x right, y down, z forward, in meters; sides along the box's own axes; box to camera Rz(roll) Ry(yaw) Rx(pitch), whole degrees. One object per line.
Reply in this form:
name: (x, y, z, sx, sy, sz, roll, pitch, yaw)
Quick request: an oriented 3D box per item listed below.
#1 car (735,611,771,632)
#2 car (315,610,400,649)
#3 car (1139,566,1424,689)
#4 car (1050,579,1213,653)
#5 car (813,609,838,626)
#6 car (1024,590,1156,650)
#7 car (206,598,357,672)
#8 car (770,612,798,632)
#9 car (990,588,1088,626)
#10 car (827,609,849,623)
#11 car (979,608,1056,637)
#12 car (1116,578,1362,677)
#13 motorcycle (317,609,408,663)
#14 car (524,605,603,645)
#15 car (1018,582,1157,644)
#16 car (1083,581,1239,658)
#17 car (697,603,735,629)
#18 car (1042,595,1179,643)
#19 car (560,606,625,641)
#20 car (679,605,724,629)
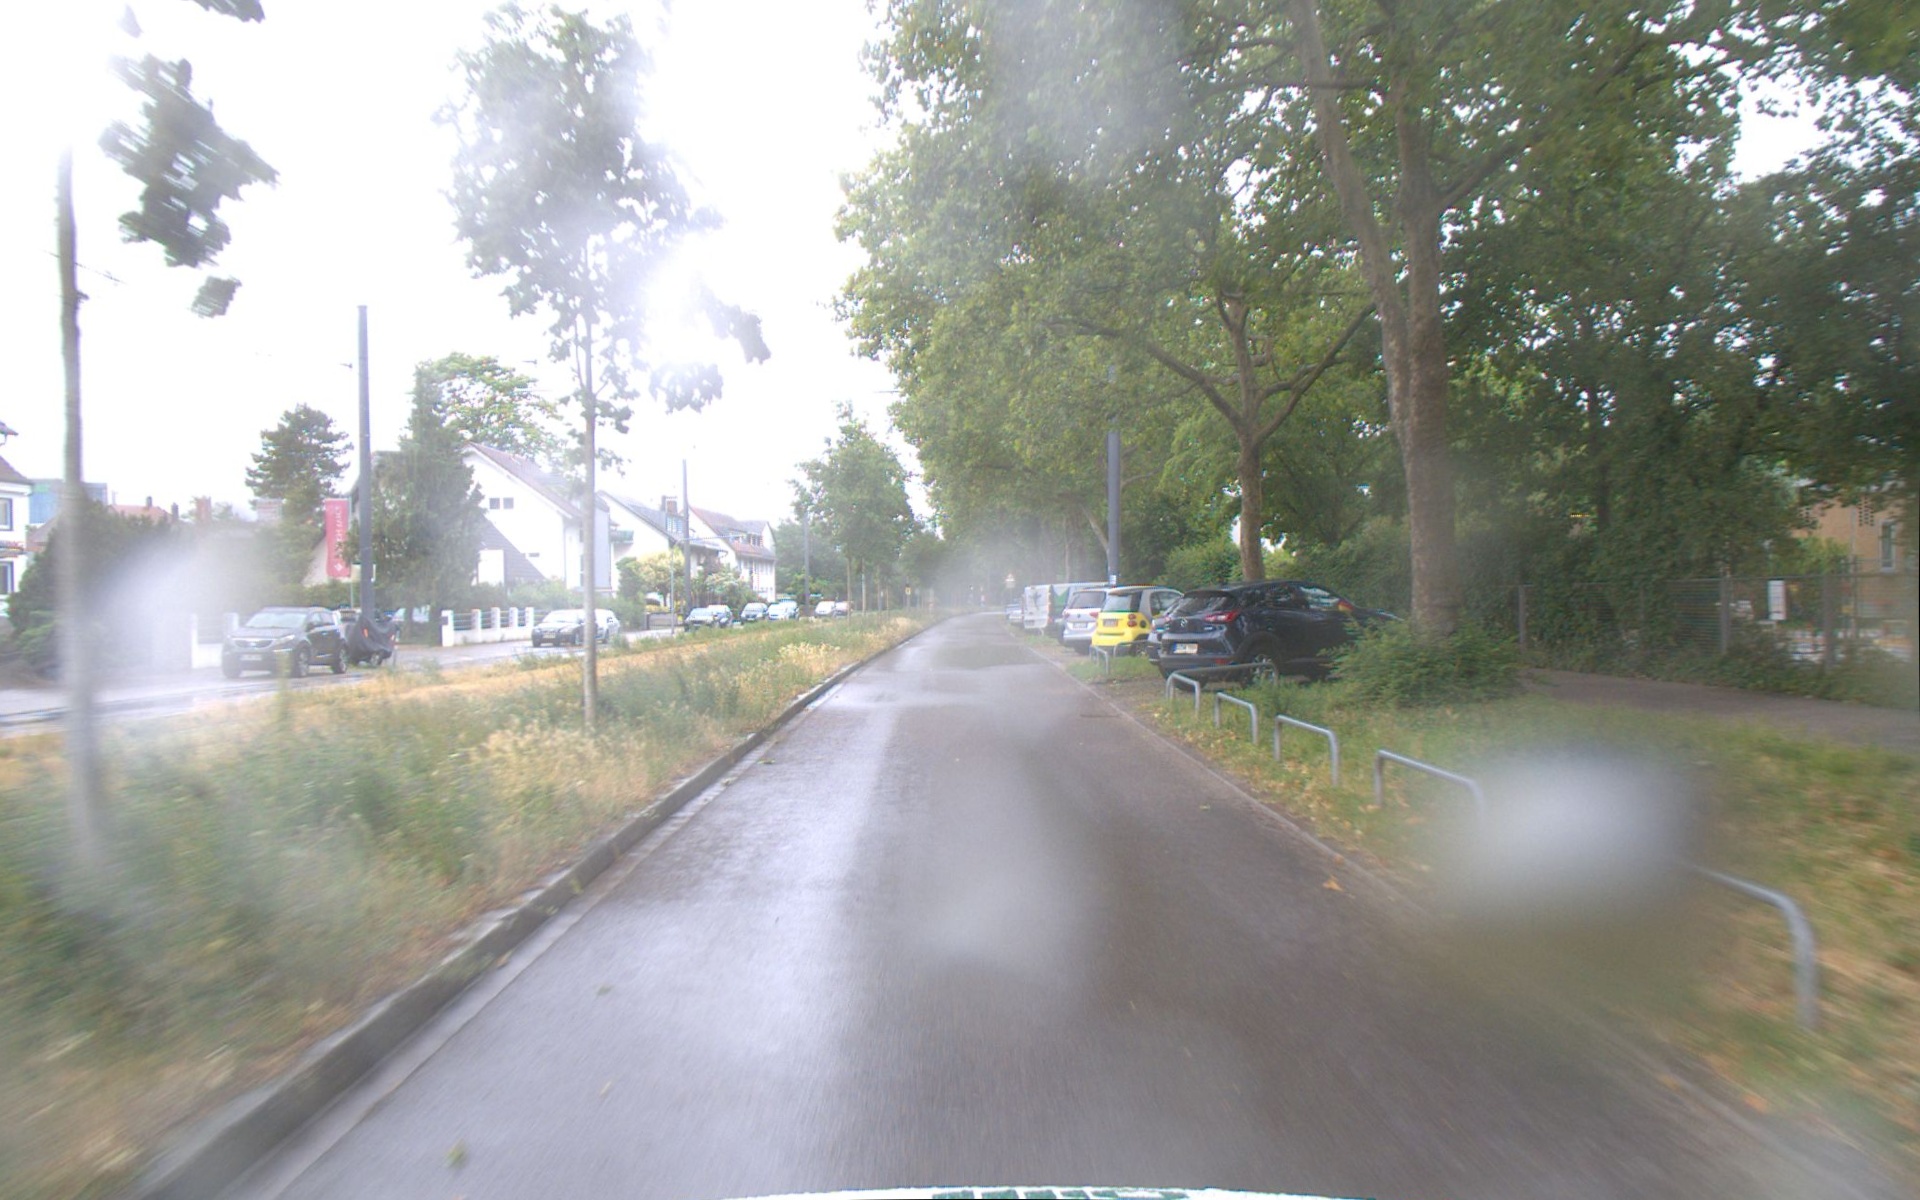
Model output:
car: (-15.431, 1.587, 123.422, 1.952, 1.543, 4.206, 1, 0, 2)
car: (-24.244, 1.163, 66.652, 1.953, 1.481, 3.918, 1, 0, 0)
car: (4.675, 0.356, 23.957, 3.754, 1.559, 1.864, -2, 0, -31)
car: (4.313, 0.382, 41.370, 4.007, 1.669, 1.632, -2, -1, -38)
car: (-13.515, 1.710, 165.960, 1.952, 1.608, 4.518, 1, 0, 2)
car: (3.714, 0.573, 47.227, 3.369, 1.545, 1.825, -2, -1, -38)
car: (-16.398, 0.830, 40.234, 1.953, 1.704, 4.386, 0, -1, -2)
car: (-14.359, 1.803, 135.249, 1.759, 1.514, 3.597, 1, 0, 2)
car: (3.858, 0.312, 80.531, 4.503, 1.571, 1.867, -4, 1, -32)
car: (-13.275, 1.746, 179.783, 1.952, 1.514, 4.206, 1, 0, 2)
car: (3.663, 1.428, 105.137, 4.722, 1.697, 1.969, -1, 0, -36)
car: (4.673, 0.443, 27.470, 4.019, 1.443, 1.720, -2, -1, -37)
motorcycle: (-16.509, 0.997, 45.665, 2.640, 1.436, 1.259, -1, -2, 43)
car: (-15.992, 0.987, 66.940, 1.952, 1.481, 4.532, 1, 0, 2)
car: (4.719, 0.458, 60.845, 4.972, 2.048, 1.976, -2, 1, -35)
car: (4.267, 0.415, 35.138, 2.864, 1.492, 1.588, -2, -1, -29)
car: (-15.658, 1.003, 106.286, 1.835, 1.578, 3.870, 1, 0, 0)
car: (4.656, 0.568, 50.802, 4.265, 1.408, 1.716, 0, -1, -40)
car: (-16.103, 1.013, 72.659, 1.953, 1.435, 3.971, 1, 0, 0)
car: (-15.792, 1.028, 101.223, 1.952, 1.374, 4.241, 1, 0, 2)
